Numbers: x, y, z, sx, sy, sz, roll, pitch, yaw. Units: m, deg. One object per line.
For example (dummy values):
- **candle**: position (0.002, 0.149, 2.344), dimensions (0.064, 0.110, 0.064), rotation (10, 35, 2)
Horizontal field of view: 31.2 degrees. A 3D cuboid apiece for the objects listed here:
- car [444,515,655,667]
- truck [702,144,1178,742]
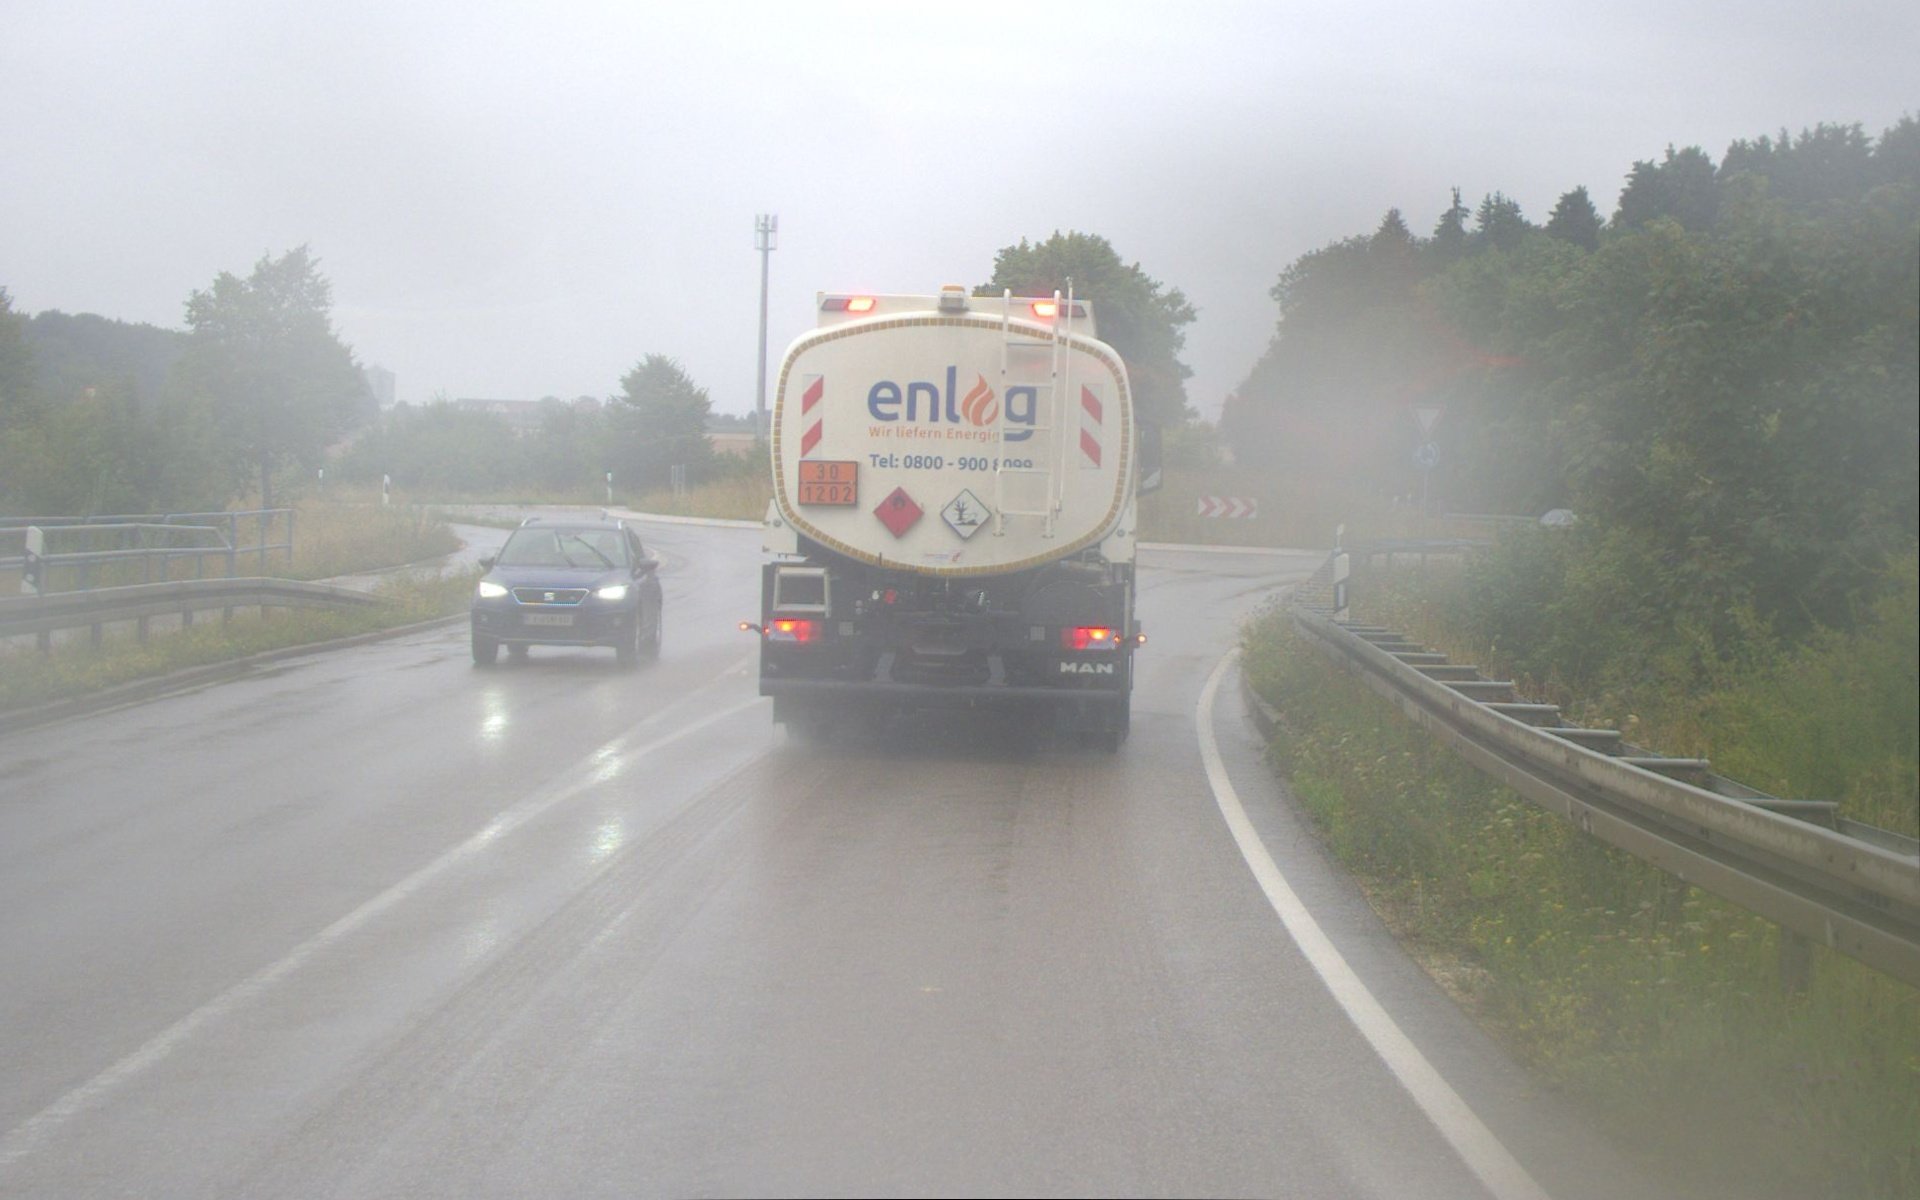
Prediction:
- **car**: position (-4.366, -0.141, 37.107), dimensions (1.780, 1.521, 4.169), rotation (1, 1, 0)
- **truck**: position (0.029, -1.173, 26.776), dimensions (3.039, 3.838, 8.822), rotation (1, 2, 2)
